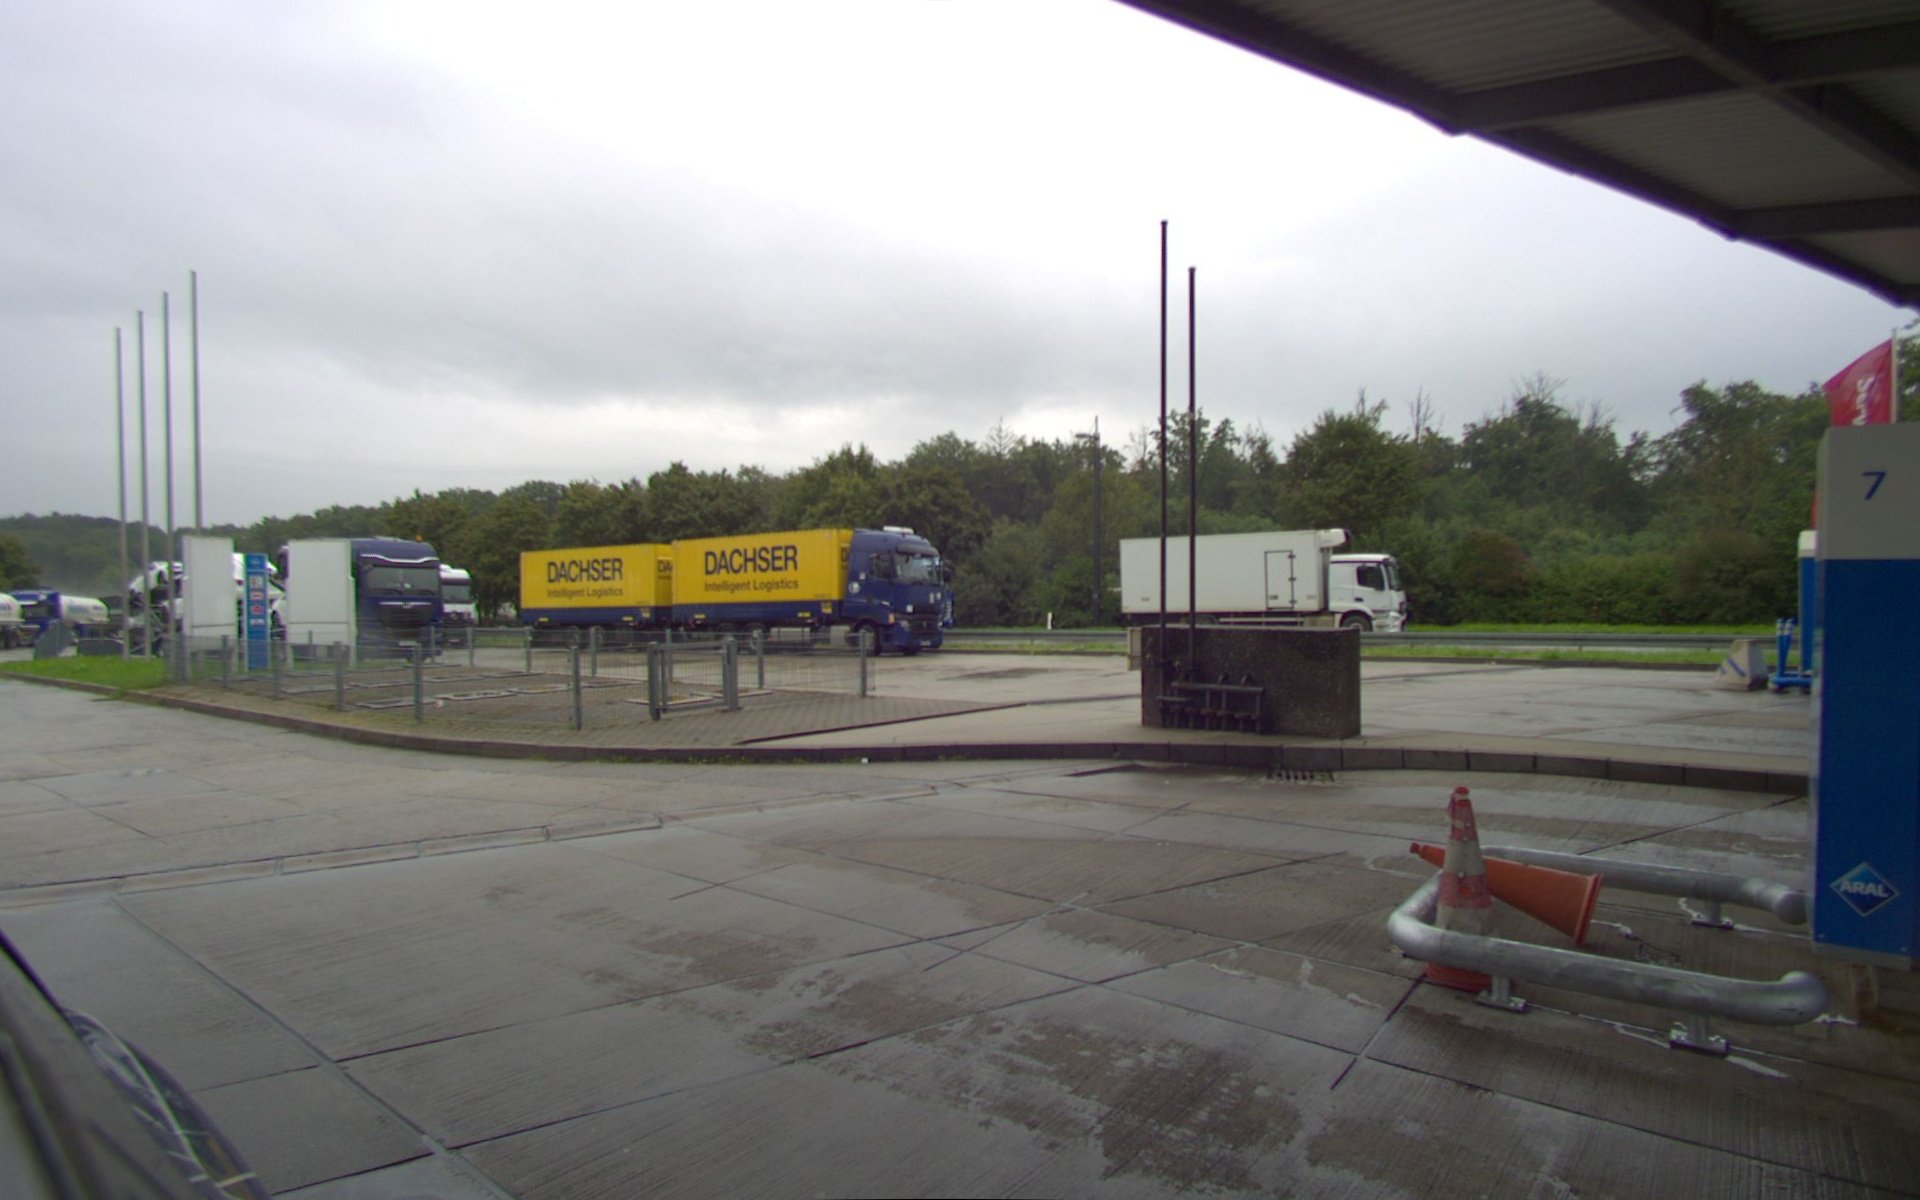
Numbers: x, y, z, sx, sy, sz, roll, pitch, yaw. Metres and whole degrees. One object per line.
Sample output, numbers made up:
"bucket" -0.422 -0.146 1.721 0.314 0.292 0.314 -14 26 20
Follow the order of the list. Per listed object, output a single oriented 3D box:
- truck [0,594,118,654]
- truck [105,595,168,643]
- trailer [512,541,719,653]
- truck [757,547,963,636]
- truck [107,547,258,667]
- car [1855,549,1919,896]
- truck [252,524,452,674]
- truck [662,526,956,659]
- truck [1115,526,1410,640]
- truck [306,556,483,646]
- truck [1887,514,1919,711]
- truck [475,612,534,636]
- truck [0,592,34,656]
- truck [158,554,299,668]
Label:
"truck" -61.492 1.617 68.655 3.454 3.633 14.709 -1 -1 -27
"truck" -75.380 1.708 92.557 11.525 4.160 3.101 -1 0 44
"trailer" -13.496 -0.076 39.258 8.679 3.946 2.728 -1 0 32
"truck" -4.876 -0.317 47.644 10.195 3.836 2.395 -1 0 31
"truck" -29.585 0.296 38.447 6.605 4.213 2.635 -1 0 35
"car" 6.914 0.542 3.801 5.269 1.620 1.842 -1 0 41
"truck" -19.005 0.009 31.478 7.089 4.213 2.635 -1 0 35
"truck" -5.333 -0.180 34.029 10.654 3.946 2.727 -1 0 33
"truck" 10.973 -0.520 37.449 10.195 3.836 2.395 -1 0 31
"truck" -27.315 0.101 48.628 10.654 3.946 2.727 -1 0 33
"truck" 14.997 0.124 11.955 5.859 2.513 2.208 -1 0 41
"truck" -42.863 2.226 95.186 5.810 2.140 2.061 -1 0 31
"truck" -55.153 1.335 53.688 3.454 3.633 14.444 -1 -1 -19
"truck" -26.103 0.393 36.073 4.738 3.800 2.635 -1 0 34
